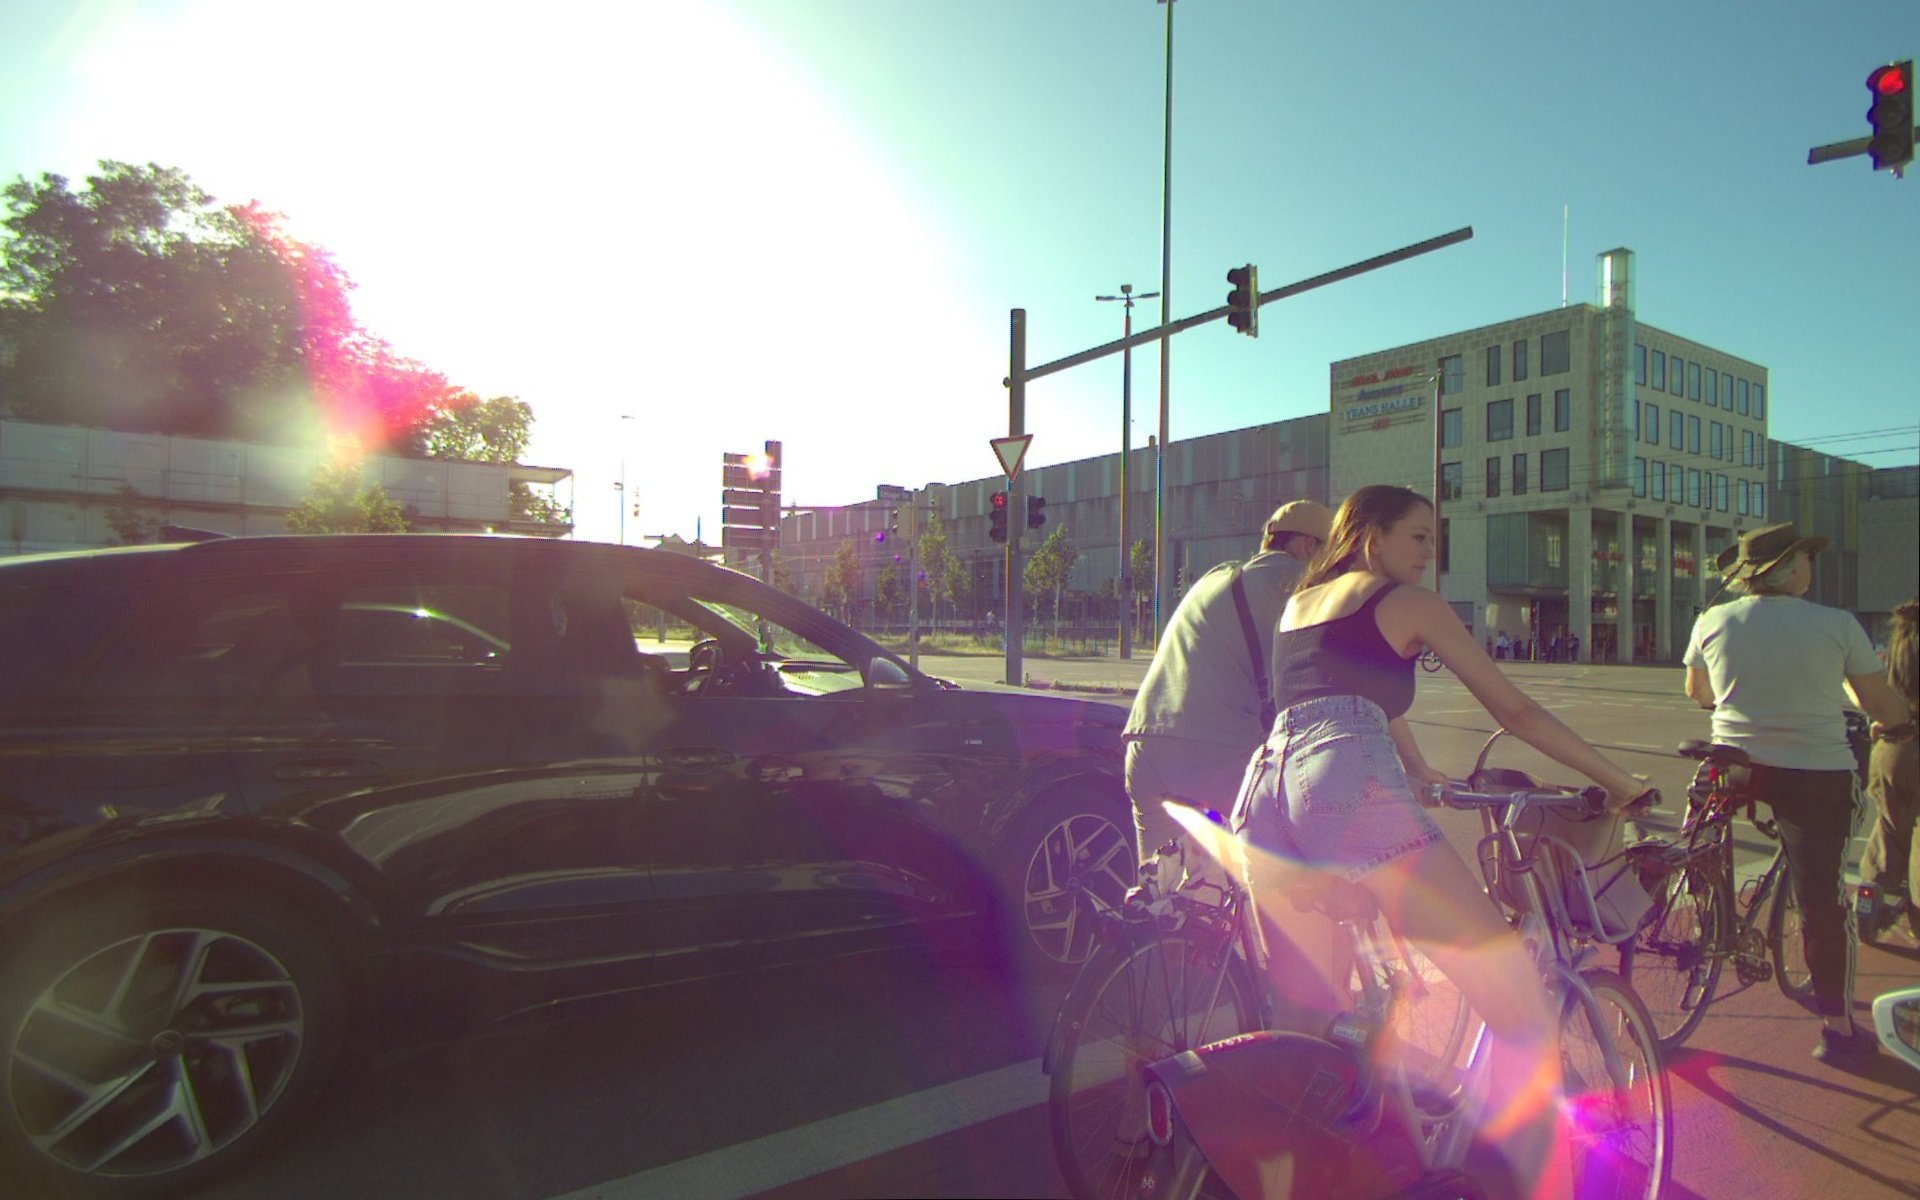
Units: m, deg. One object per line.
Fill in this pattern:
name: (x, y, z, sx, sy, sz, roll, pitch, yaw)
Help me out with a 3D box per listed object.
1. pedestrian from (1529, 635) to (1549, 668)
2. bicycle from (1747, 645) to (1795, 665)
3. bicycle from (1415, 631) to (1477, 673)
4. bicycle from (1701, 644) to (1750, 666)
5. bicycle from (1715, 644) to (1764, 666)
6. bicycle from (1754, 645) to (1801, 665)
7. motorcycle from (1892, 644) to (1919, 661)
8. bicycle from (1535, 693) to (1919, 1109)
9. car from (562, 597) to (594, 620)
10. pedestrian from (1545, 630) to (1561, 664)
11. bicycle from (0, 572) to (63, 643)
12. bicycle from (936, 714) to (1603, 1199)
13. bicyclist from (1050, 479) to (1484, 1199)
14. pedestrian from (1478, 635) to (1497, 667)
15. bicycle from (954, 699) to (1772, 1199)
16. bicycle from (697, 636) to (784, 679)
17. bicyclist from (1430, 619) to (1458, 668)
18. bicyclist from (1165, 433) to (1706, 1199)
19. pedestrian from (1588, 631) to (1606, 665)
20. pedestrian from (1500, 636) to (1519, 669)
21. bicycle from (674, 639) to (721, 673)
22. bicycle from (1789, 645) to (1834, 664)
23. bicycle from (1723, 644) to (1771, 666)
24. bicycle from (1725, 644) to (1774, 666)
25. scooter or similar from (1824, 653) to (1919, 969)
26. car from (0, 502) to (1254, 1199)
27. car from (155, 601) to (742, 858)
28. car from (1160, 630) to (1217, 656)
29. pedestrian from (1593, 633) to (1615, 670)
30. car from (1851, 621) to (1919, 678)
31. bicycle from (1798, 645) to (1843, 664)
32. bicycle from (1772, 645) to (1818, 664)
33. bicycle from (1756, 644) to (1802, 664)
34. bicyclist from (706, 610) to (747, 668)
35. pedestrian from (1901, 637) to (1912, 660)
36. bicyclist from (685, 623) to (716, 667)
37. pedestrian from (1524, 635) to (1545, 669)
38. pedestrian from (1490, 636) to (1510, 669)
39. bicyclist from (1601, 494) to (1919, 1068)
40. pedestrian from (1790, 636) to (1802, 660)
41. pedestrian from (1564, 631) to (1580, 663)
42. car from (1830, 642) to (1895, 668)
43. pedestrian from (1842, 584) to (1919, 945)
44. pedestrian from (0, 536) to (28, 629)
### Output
pedestrian: (34.402, 3.045, 59.691, 0.710, 1.910, 0.779, 2, 0, -36)
bicycle: (51.272, 3.473, 63.554, 0.605, 1.238, 2.295, 1, -1, -31)
bicycle: (14.696, 1.567, 30.394, 1.618, 1.170, 0.497, 2, 0, 21)
bicycle: (45.758, 3.288, 60.086, 0.605, 1.238, 2.295, 1, -1, -31)
bicycle: (46.959, 3.327, 60.530, 0.605, 1.238, 2.295, 1, -1, -31)
bicycle: (52.897, 3.529, 65.021, 0.605, 1.238, 2.295, 1, -1, -31)
motorcycle: (70.733, 3.903, 74.859, 0.508, 1.223, 1.786, 1, 0, -44)
bicycle: (2.877, 0.963, 3.680, 1.810, 1.171, 0.482, 2, 0, -31)
car: (-32.943, 0.736, 86.511, 1.785, 1.908, 3.964, 2, 0, -33)
pedestrian: (34.188, 2.696, 57.903, 0.705, 1.910, 0.785, 2, 0, 33)
bicycle: (-25.707, 0.180, 26.163, 3.320, 1.835, 1.071, 2, 0, -32)
bicycle: (0.938, 0.955, 2.771, 1.949, 1.124, 0.643, 1, 0, -33)
bicyclist: (0.801, 0.561, 2.674, 0.833, 1.627, 0.712, 1, 0, -32)
pedestrian: (32.315, 3.110, 61.528, 0.710, 1.910, 0.779, 2, 0, -36)
bicycle: (0.913, 0.882, 2.057, 1.811, 1.234, 0.612, 1, 0, -33)
bicycle: (-7.876, 2.050, 36.102, 2.905, 1.388, 0.970, 2, 0, 16)
bicyclist: (14.641, 1.311, 30.410, 0.699, 1.456, 0.497, 2, 0, 21)
bicyclist: (0.984, 0.539, 2.103, 0.866, 1.600, 0.638, 1, 0, -33)
pedestrian: (35.868, 2.694, 56.585, 0.784, 1.868, 0.863, 0, -1, 28)
pedestrian: (33.219, 3.167, 60.691, 0.780, 1.910, 0.709, 2, 0, -37)
bicycle: (-12.440, 2.630, 47.538, 0.962, 1.388, 2.930, 2, 0, -40)
bicycle: (58.847, 3.731, 69.432, 0.605, 1.238, 2.295, 1, -1, -31)
bicycle: (48.042, 3.364, 61.341, 0.605, 1.238, 2.295, 1, -1, -31)
bicycle: (48.692, 3.386, 61.962, 0.605, 1.238, 2.295, 1, -1, -31)
scooter or similar: (4.490, 0.927, 4.715, 1.186, 1.311, 0.541, 2, 0, -45)
car: (-1.156, 0.634, 3.871, 4.630, 1.656, 1.760, 1, 0, -32)
car: (-3.588, 0.792, 7.496, 3.562, 1.505, 1.485, 1, 0, -30)
car: (16.282, 3.054, 71.687, 1.643, 1.606, 3.871, 2, 0, -36)
pedestrian: (37.043, 2.952, 57.773, 0.767, 2.040, 0.876, 2, 0, -41)
car: (28.234, 1.425, 28.669, 3.821, 1.606, 1.659, 0, -1, 20)
bicycle: (59.818, 3.763, 69.856, 0.605, 1.238, 2.295, 1, -1, -31)
bicycle: (55.514, 3.617, 66.833, 0.605, 1.238, 2.295, 1, -1, -31)
bicycle: (54.276, 3.579, 66.569, 0.605, 1.238, 2.295, 1, -1, -31)
bicyclist: (-8.428, 1.398, 36.243, 1.078, 2.040, 0.961, 2, 0, 15)
pedestrian: (71.092, 3.667, 75.459, 0.579, 1.702, 0.516, 1, 1, -43)
bicyclist: (-12.225, 2.107, 47.268, 0.985, 2.040, 1.088, 2, 0, -40)
pedestrian: (33.392, 3.008, 58.379, 0.710, 1.910, 0.779, 2, 0, -36)
pedestrian: (32.157, 3.130, 59.870, 0.710, 1.910, 0.779, 2, 0, -36)
bicyclist: (2.867, 0.558, 3.554, 0.856, 1.743, 0.657, 2, 0, -30)
pedestrian: (61.530, 3.518, 73.916, 0.602, 1.702, 0.549, 1, 0, -40)
pedestrian: (35.625, 2.731, 58.426, 0.784, 1.868, 0.862, 0, -1, 32)
car: (49.779, 3.061, 55.412, 3.956, 1.359, 1.621, 2, -4, -32)
pedestrian: (4.631, 0.764, 4.807, 0.568, 1.654, 0.543, 2, 0, -45)
pedestrian: (-25.329, -0.478, 26.372, 1.007, 2.406, 1.012, 2, 0, -32)
